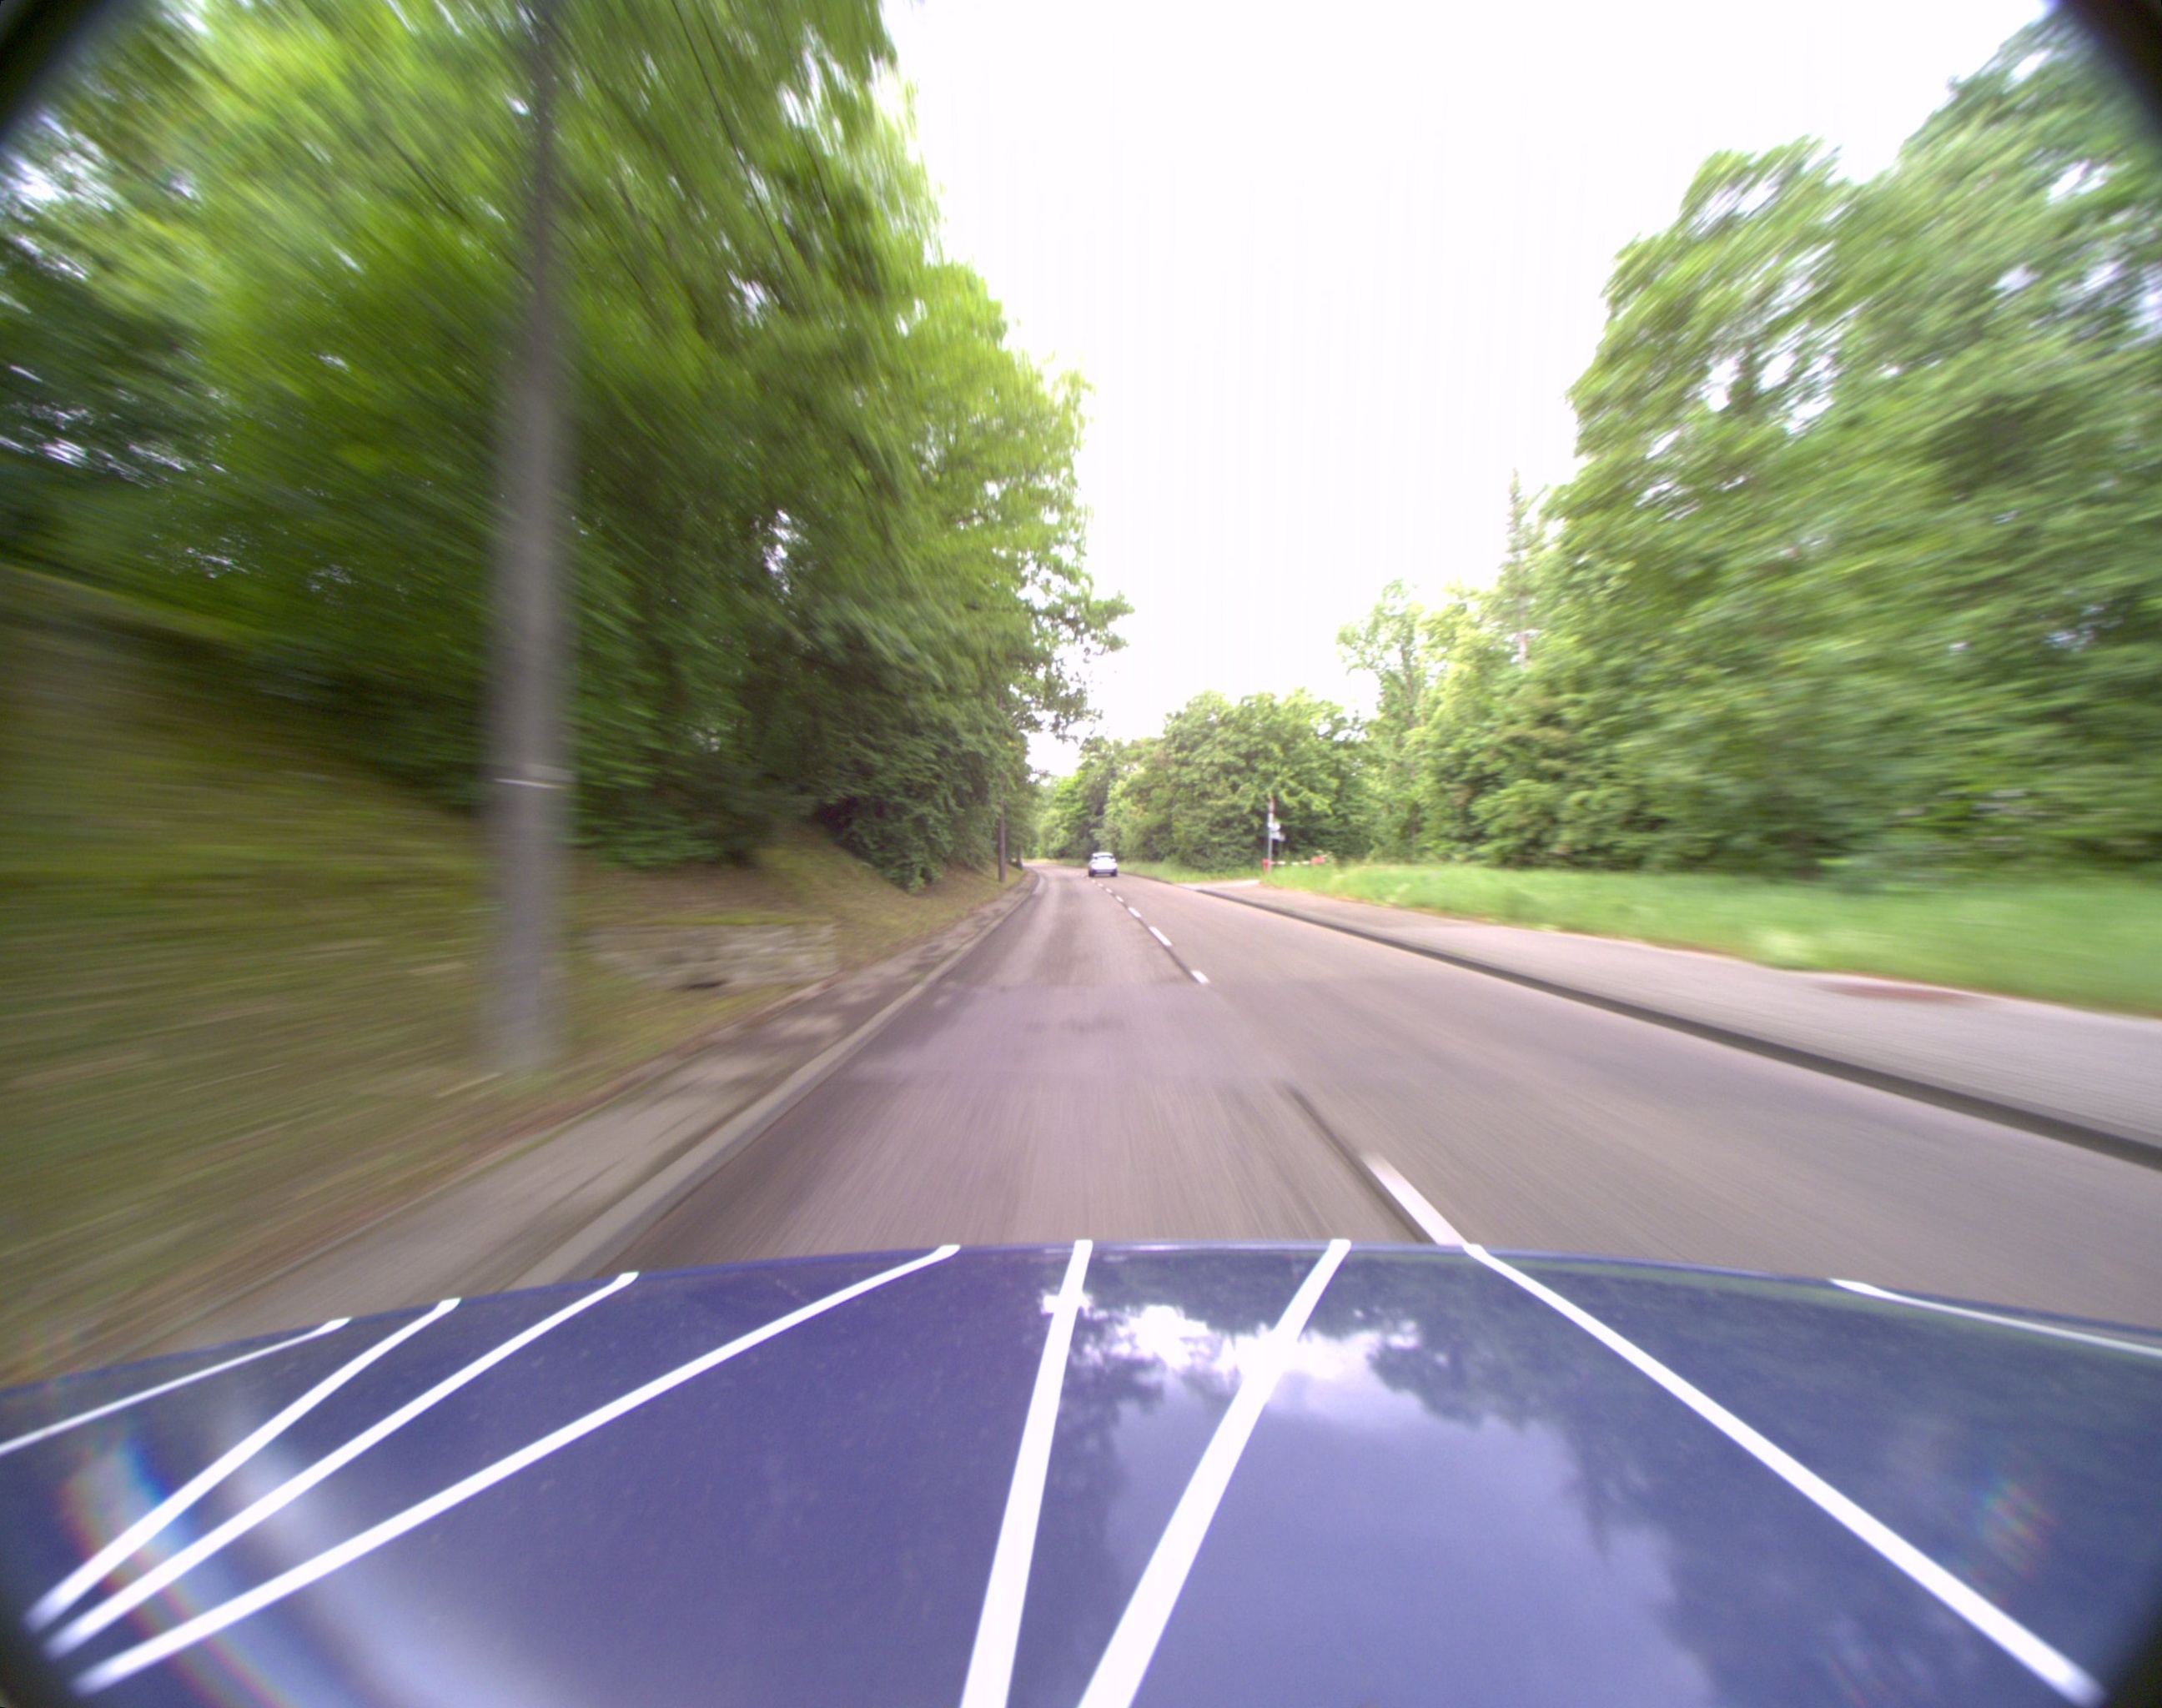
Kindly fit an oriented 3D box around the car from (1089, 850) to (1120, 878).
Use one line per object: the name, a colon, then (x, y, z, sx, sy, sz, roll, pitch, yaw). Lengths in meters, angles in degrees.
car: (1.605, 0.670, 53.992, 1.999, 1.743, 4.781, -2, 1, 0)
